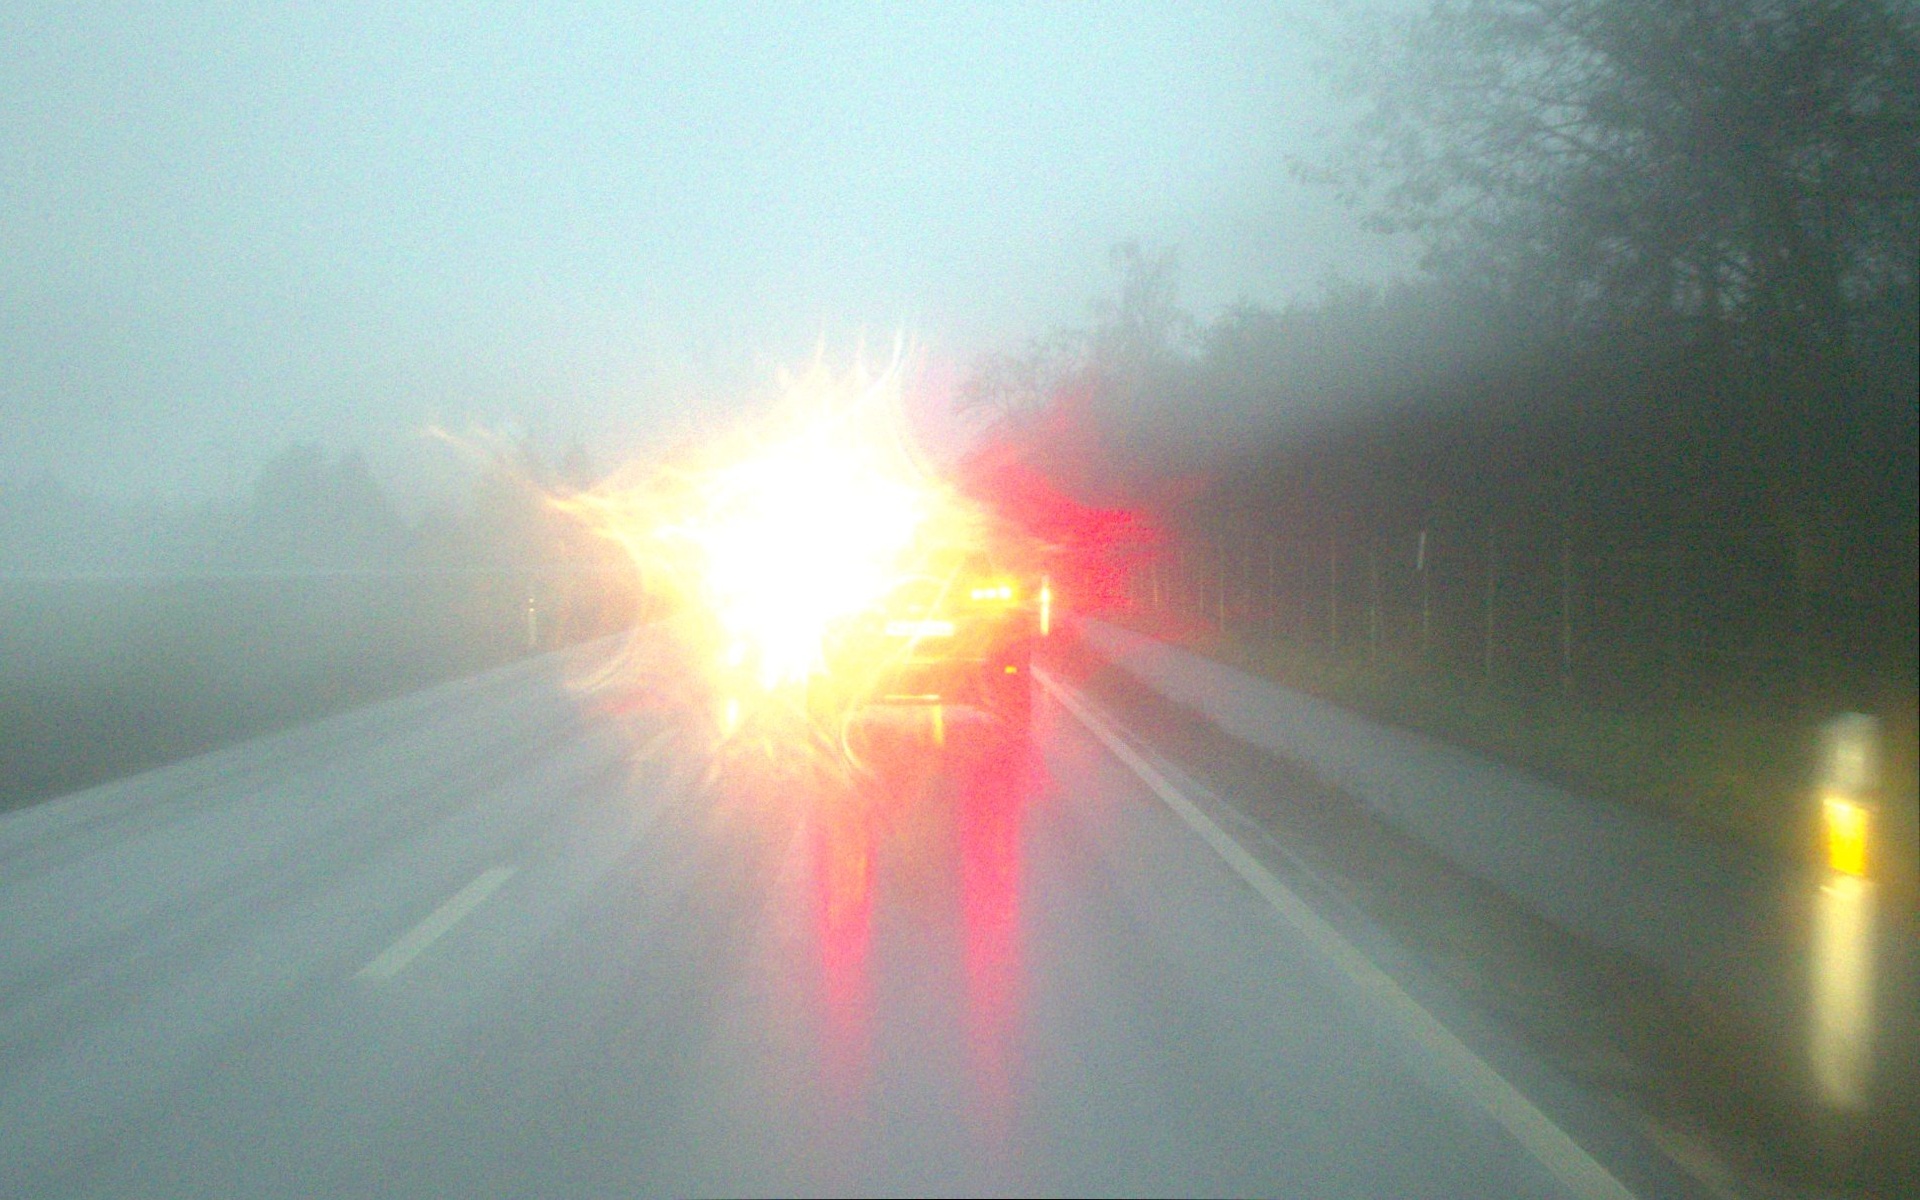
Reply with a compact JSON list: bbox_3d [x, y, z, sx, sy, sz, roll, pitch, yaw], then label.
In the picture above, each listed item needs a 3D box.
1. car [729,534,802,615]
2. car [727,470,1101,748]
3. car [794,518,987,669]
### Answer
[{"bbox_3d":[-5.279,-0.719,93.657,1.915,2.130,4.314,-1,1,-3],"label":"car"},{"bbox_3d":[-0.354,0.035,29.172,2.820,2.070,5.804,1,1,0],"label":"car"},{"bbox_3d":[-0.945,-0.122,49.668,2.592,2.007,5.804,1,1,0],"label":"car"}]
